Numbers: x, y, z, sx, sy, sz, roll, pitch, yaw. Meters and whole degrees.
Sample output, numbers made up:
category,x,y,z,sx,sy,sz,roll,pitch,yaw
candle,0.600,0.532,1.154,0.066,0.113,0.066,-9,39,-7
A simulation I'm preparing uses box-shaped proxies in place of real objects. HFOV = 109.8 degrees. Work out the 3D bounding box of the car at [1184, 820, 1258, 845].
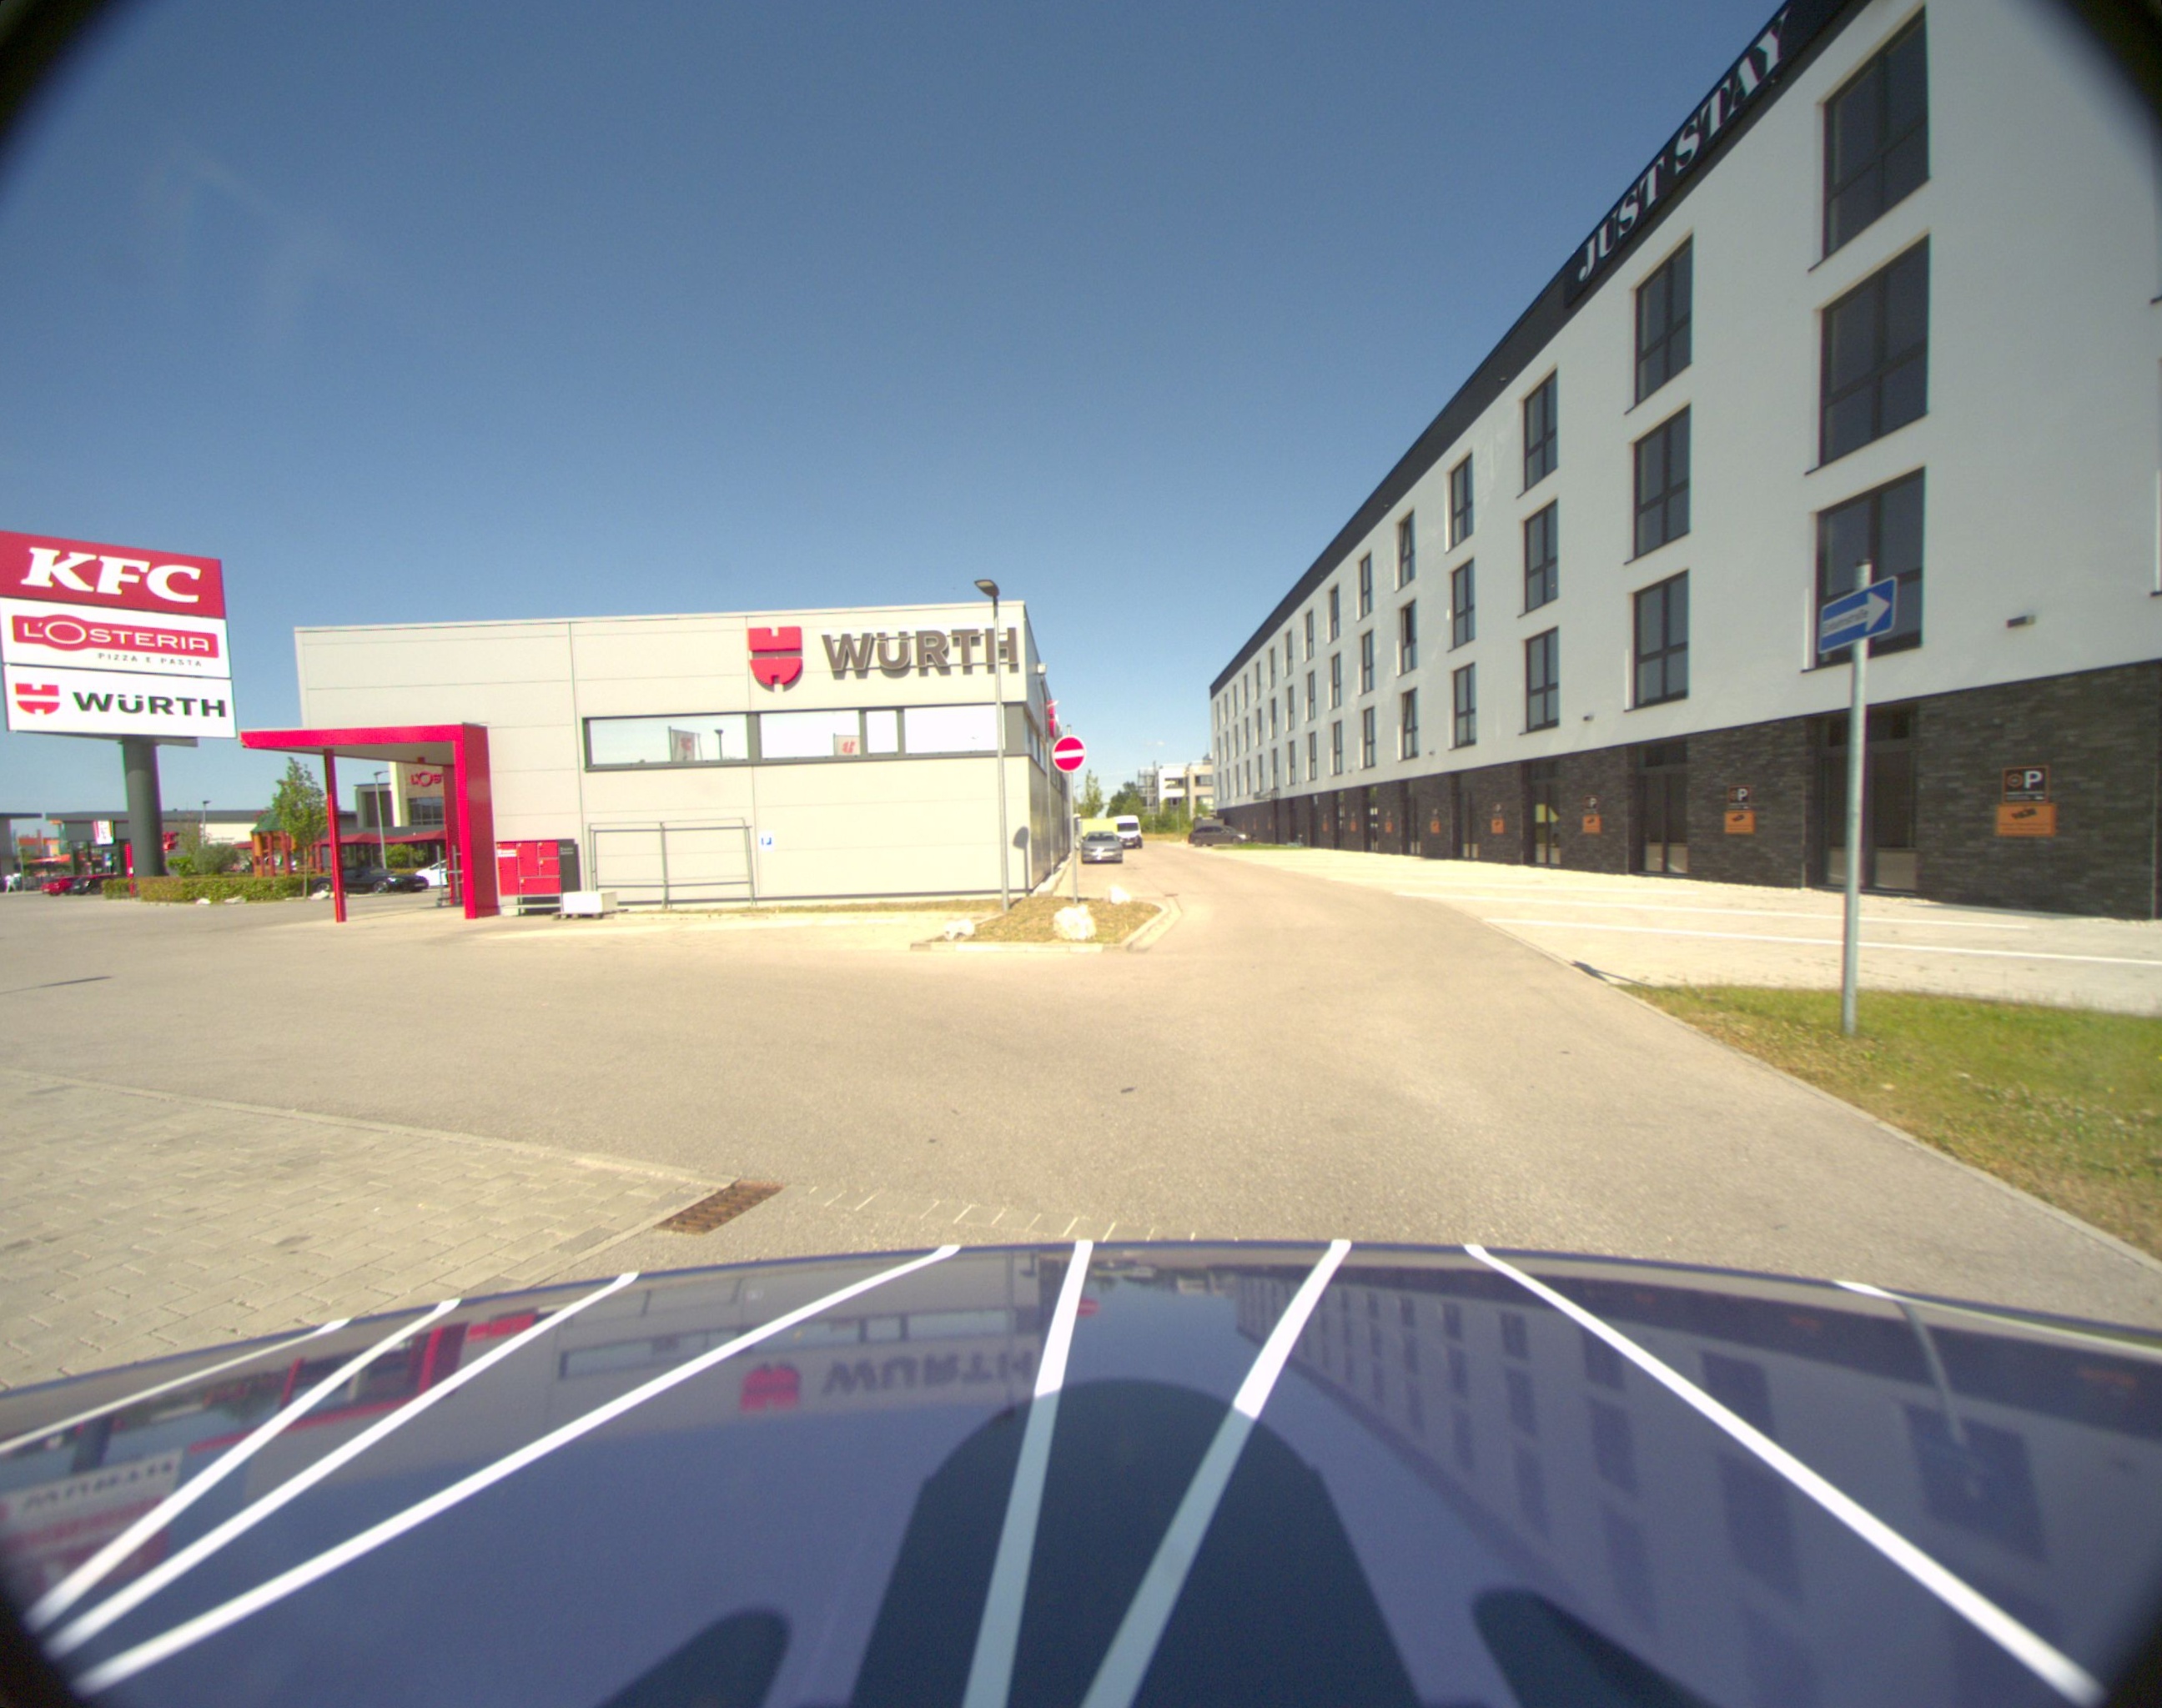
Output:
category,x,y,z,sx,sy,sz,roll,pitch,yaw
car,9.417,-1.420,51.178,4.512,1.500,1.882,-1,3,37

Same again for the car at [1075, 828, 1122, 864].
category,x,y,z,sx,sy,sz,roll,pitch,yaw
car,0.750,-0.420,34.970,1.878,1.500,3.998,-3,2,-2

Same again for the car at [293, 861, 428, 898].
category,x,y,z,sx,sy,sz,roll,pitch,yaw
car,-32.048,1.124,33.902,4.151,1.330,1.830,-3,2,-1

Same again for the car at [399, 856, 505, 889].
category,x,y,z,sx,sy,sz,roll,pitch,yaw
car,-32.032,0.922,38.758,3.909,1.466,1.803,-2,2,4

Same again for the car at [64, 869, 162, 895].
category,x,y,z,sx,sy,sz,roll,pitch,yaw
car,-73.543,2.092,57.813,1.876,1.557,4.098,-2,2,11

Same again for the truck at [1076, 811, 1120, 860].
category,x,y,z,sx,sy,sz,roll,pitch,yaw
truck,0.888,-1.040,41.619,2.122,2.363,5.888,-2,2,0

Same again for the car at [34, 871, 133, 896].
category,x,y,z,sx,sy,sz,roll,pitch,yaw
car,-76.242,2.241,58.184,1.876,1.557,4.098,-2,2,11

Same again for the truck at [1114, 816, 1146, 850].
category,x,y,z,sx,sy,sz,roll,pitch,yaw
truck,3.640,-1.598,57.296,1.998,2.363,5.888,-2,2,0
